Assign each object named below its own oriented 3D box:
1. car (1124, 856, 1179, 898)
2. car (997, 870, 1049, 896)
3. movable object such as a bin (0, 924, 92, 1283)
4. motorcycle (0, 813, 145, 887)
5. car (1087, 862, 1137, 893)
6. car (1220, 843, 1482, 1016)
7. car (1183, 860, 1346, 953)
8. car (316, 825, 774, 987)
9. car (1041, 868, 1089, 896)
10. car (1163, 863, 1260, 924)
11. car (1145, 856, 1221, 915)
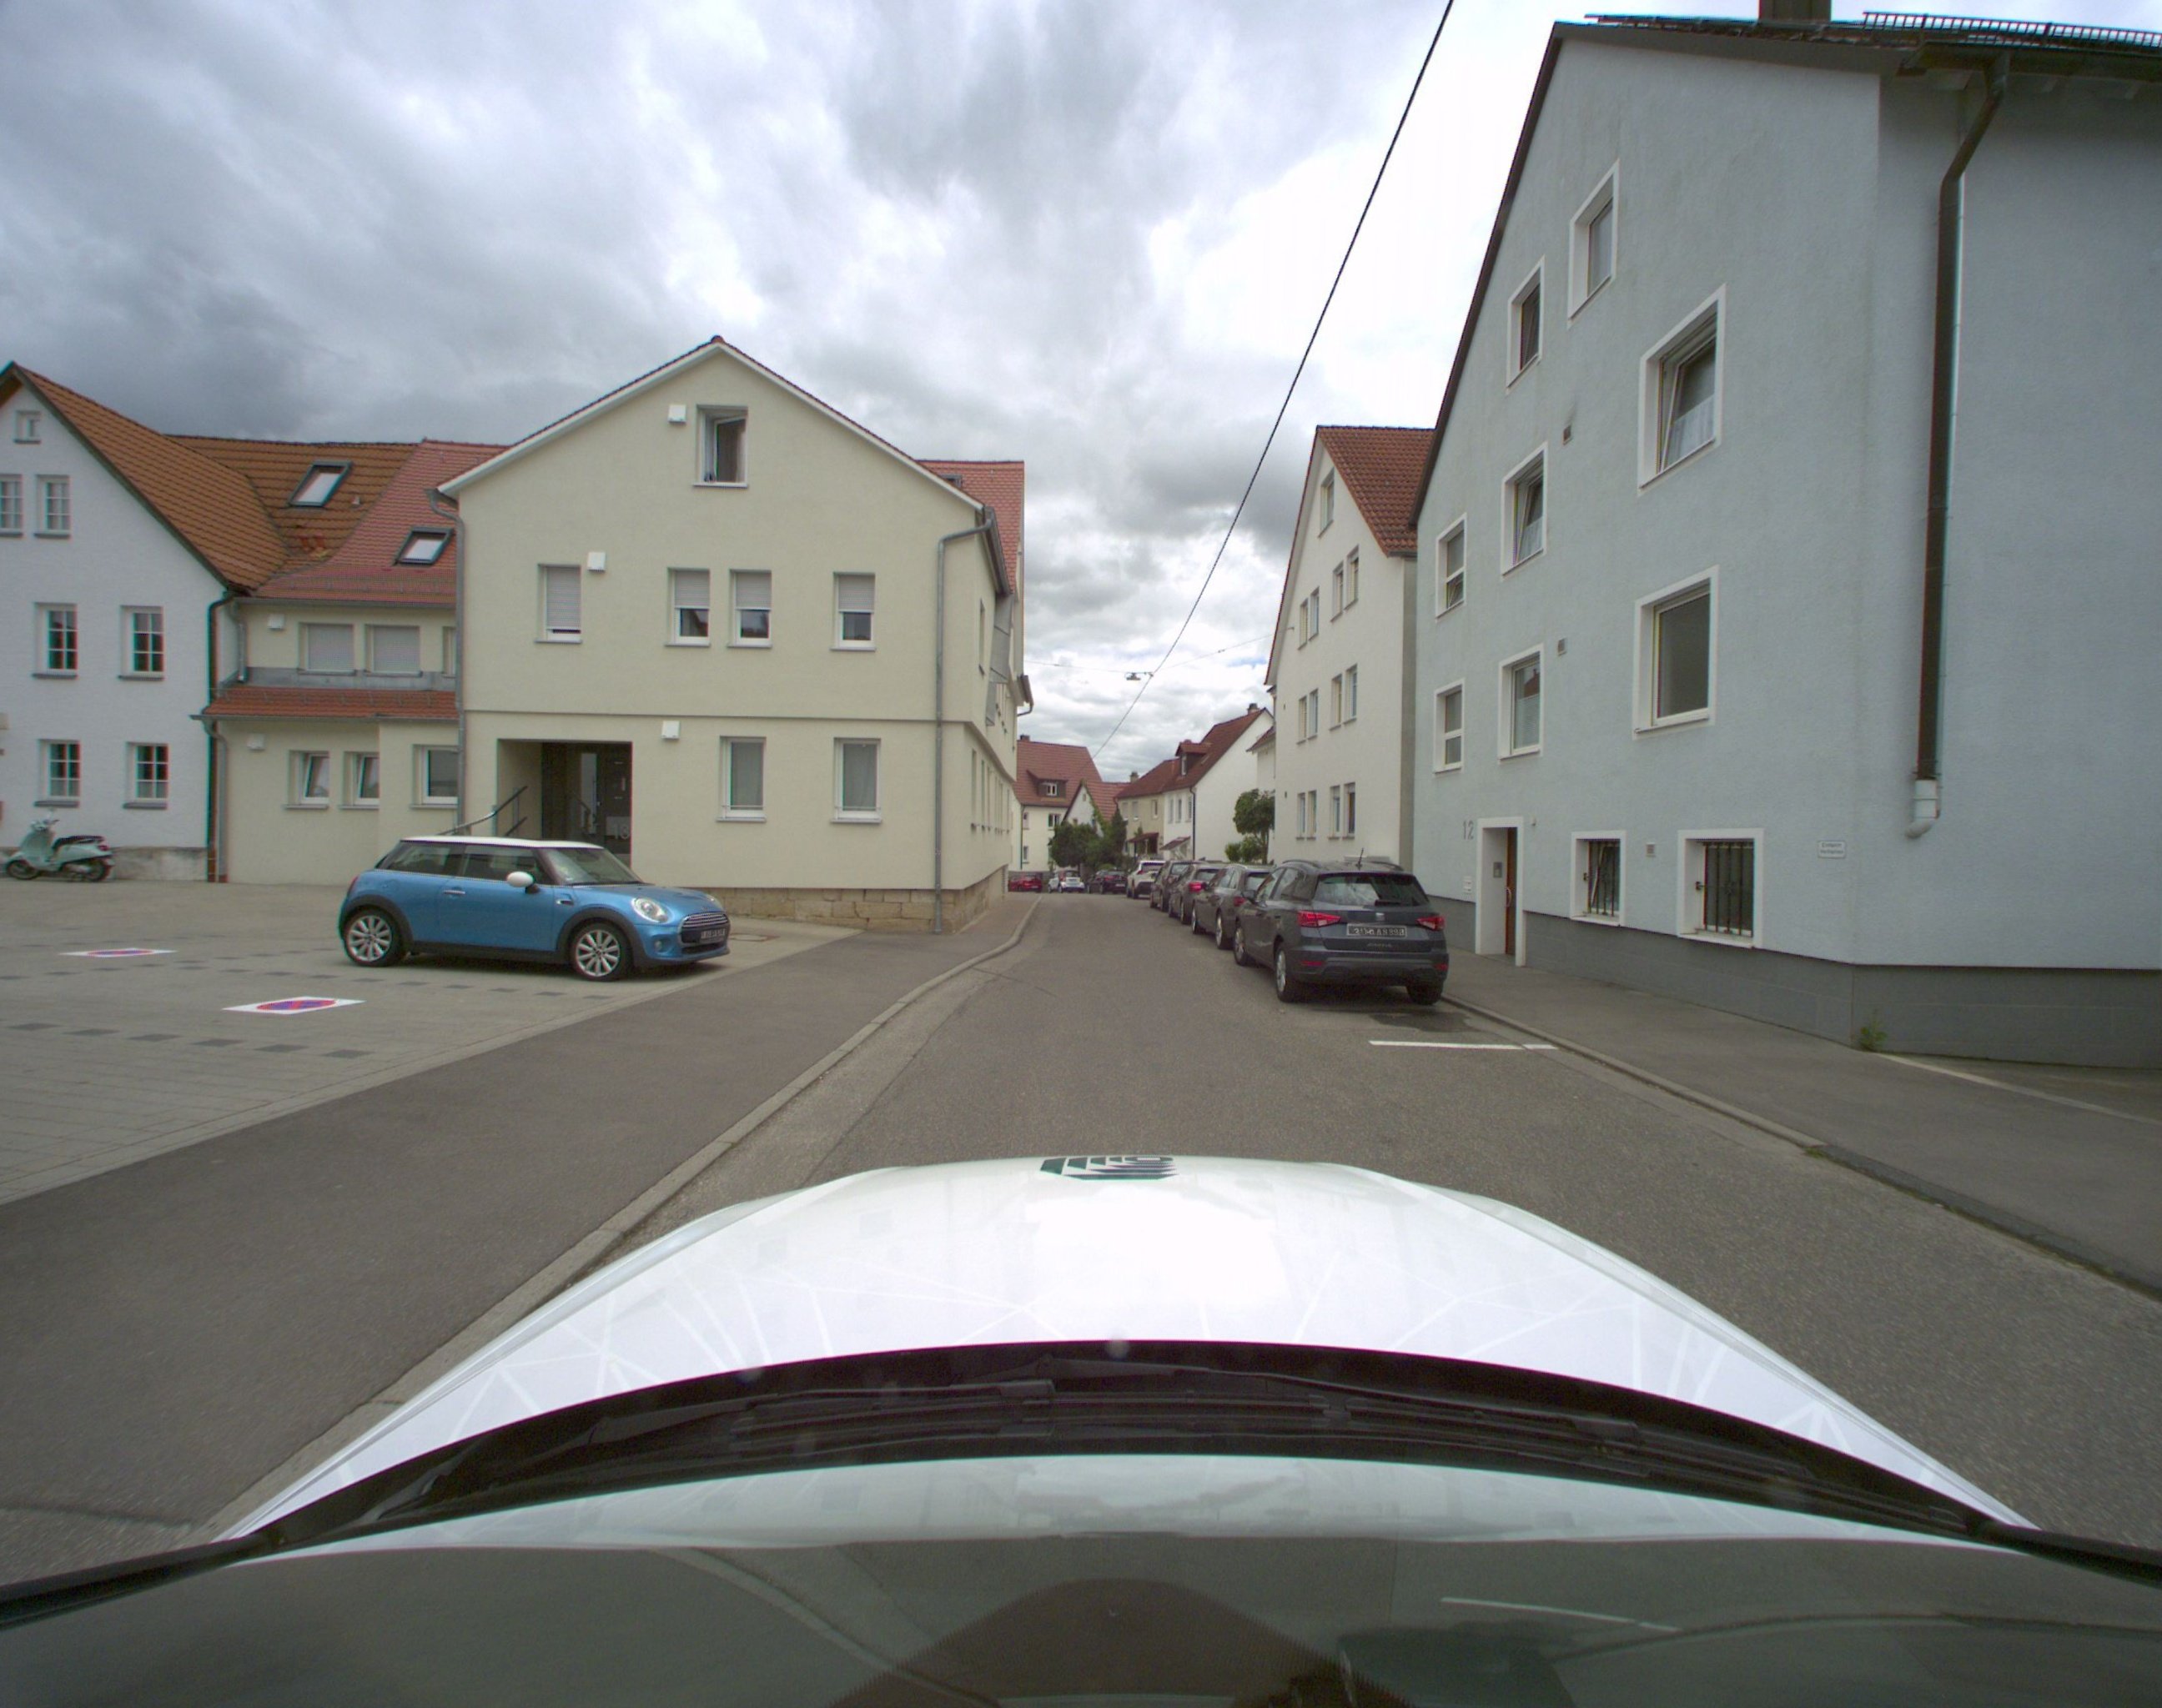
[{"bbox_3d":[3.017,0.986,35.483,1.868,1.713,4.143,0,-1,-2],"label":"car"},{"bbox_3d":[-4.333,2.183,60.571,2.009,1.683,3.957,-5,0,-34],"label":"car"},{"bbox_3d":[-3.757,0.798,2.478,0.609,1.076,0.756,3,0,22],"label":"movable object such as a bin"},{"bbox_3d":[-19.335,-0.084,15.535,1.982,1.279,0.786,3,0,0],"label":"motorcycle"},{"bbox_3d":[1.699,1.360,46.230,1.995,1.713,3.984,0,-3,-11],"label":"car"},{"bbox_3d":[3.008,0.729,10.169,1.748,1.628,4.534,2,0,0],"label":"car"},{"bbox_3d":[3.130,0.831,14.893,1.912,1.410,4.655,-1,-1,0],"label":"car"},{"bbox_3d":[-5.829,0.539,9.255,3.713,1.412,2.123,3,-1,5],"label":"car"},{"bbox_3d":[-1.137,1.896,55.316,1.970,1.713,3.971,1,0,-22],"label":"car"},{"bbox_3d":[3.131,0.929,20.234,1.791,1.352,4.074,1,-1,0],"label":"car"},{"bbox_3d":[3.105,0.931,25.453,1.731,1.610,3.997,3,-1,-1],"label":"car"}]
